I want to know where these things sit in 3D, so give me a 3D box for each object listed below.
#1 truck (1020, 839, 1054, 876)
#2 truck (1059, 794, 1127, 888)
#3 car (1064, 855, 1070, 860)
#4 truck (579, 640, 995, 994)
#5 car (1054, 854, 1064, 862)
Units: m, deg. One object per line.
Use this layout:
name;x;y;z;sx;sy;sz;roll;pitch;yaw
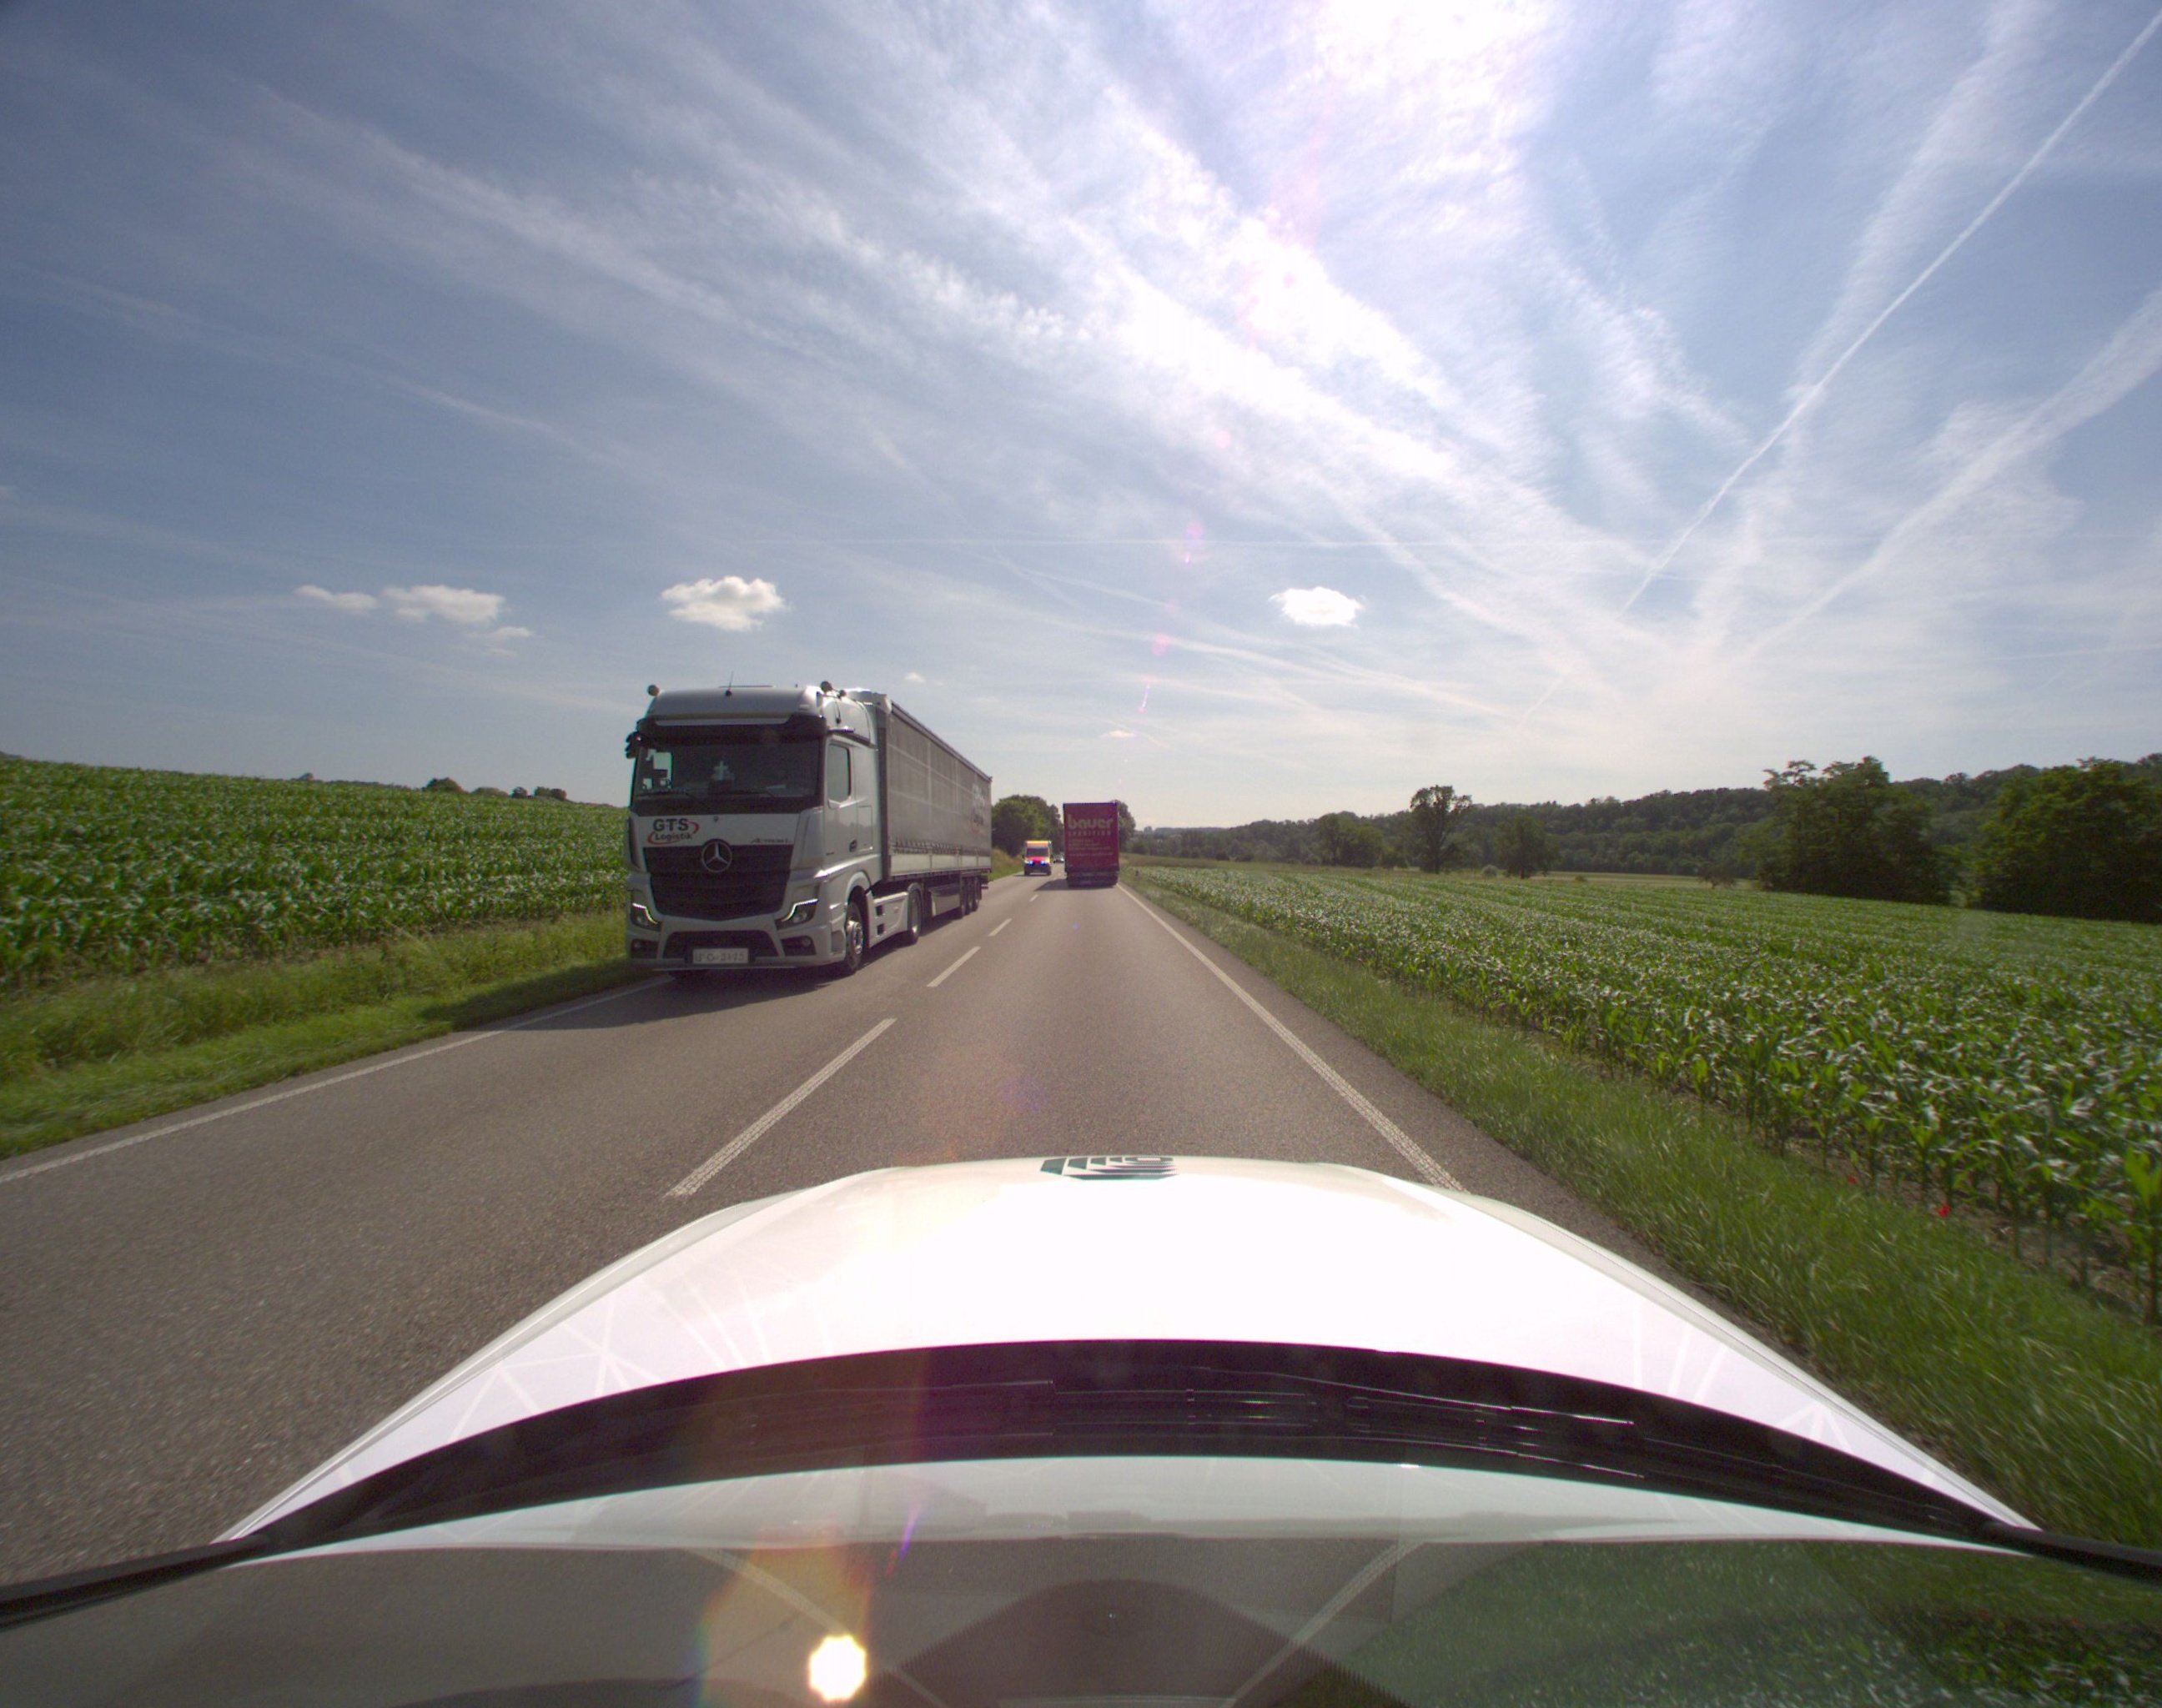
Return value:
truck;-3.358;0.293;63.400;2.201;2.672;6.415;-1;0;0
truck;0.677;-0.543;41.821;3.083;4.263;8.316;-1;-1;2
car;-4.146;1.190;246.297;1.651;1.534;4.357;0;0;0
truck;-4.245;-0.408;17.614;2.817;3.993;16.532;-1;0;0
car;-3.859;0.681;144.089;1.668;1.457;4.349;-1;0;0
